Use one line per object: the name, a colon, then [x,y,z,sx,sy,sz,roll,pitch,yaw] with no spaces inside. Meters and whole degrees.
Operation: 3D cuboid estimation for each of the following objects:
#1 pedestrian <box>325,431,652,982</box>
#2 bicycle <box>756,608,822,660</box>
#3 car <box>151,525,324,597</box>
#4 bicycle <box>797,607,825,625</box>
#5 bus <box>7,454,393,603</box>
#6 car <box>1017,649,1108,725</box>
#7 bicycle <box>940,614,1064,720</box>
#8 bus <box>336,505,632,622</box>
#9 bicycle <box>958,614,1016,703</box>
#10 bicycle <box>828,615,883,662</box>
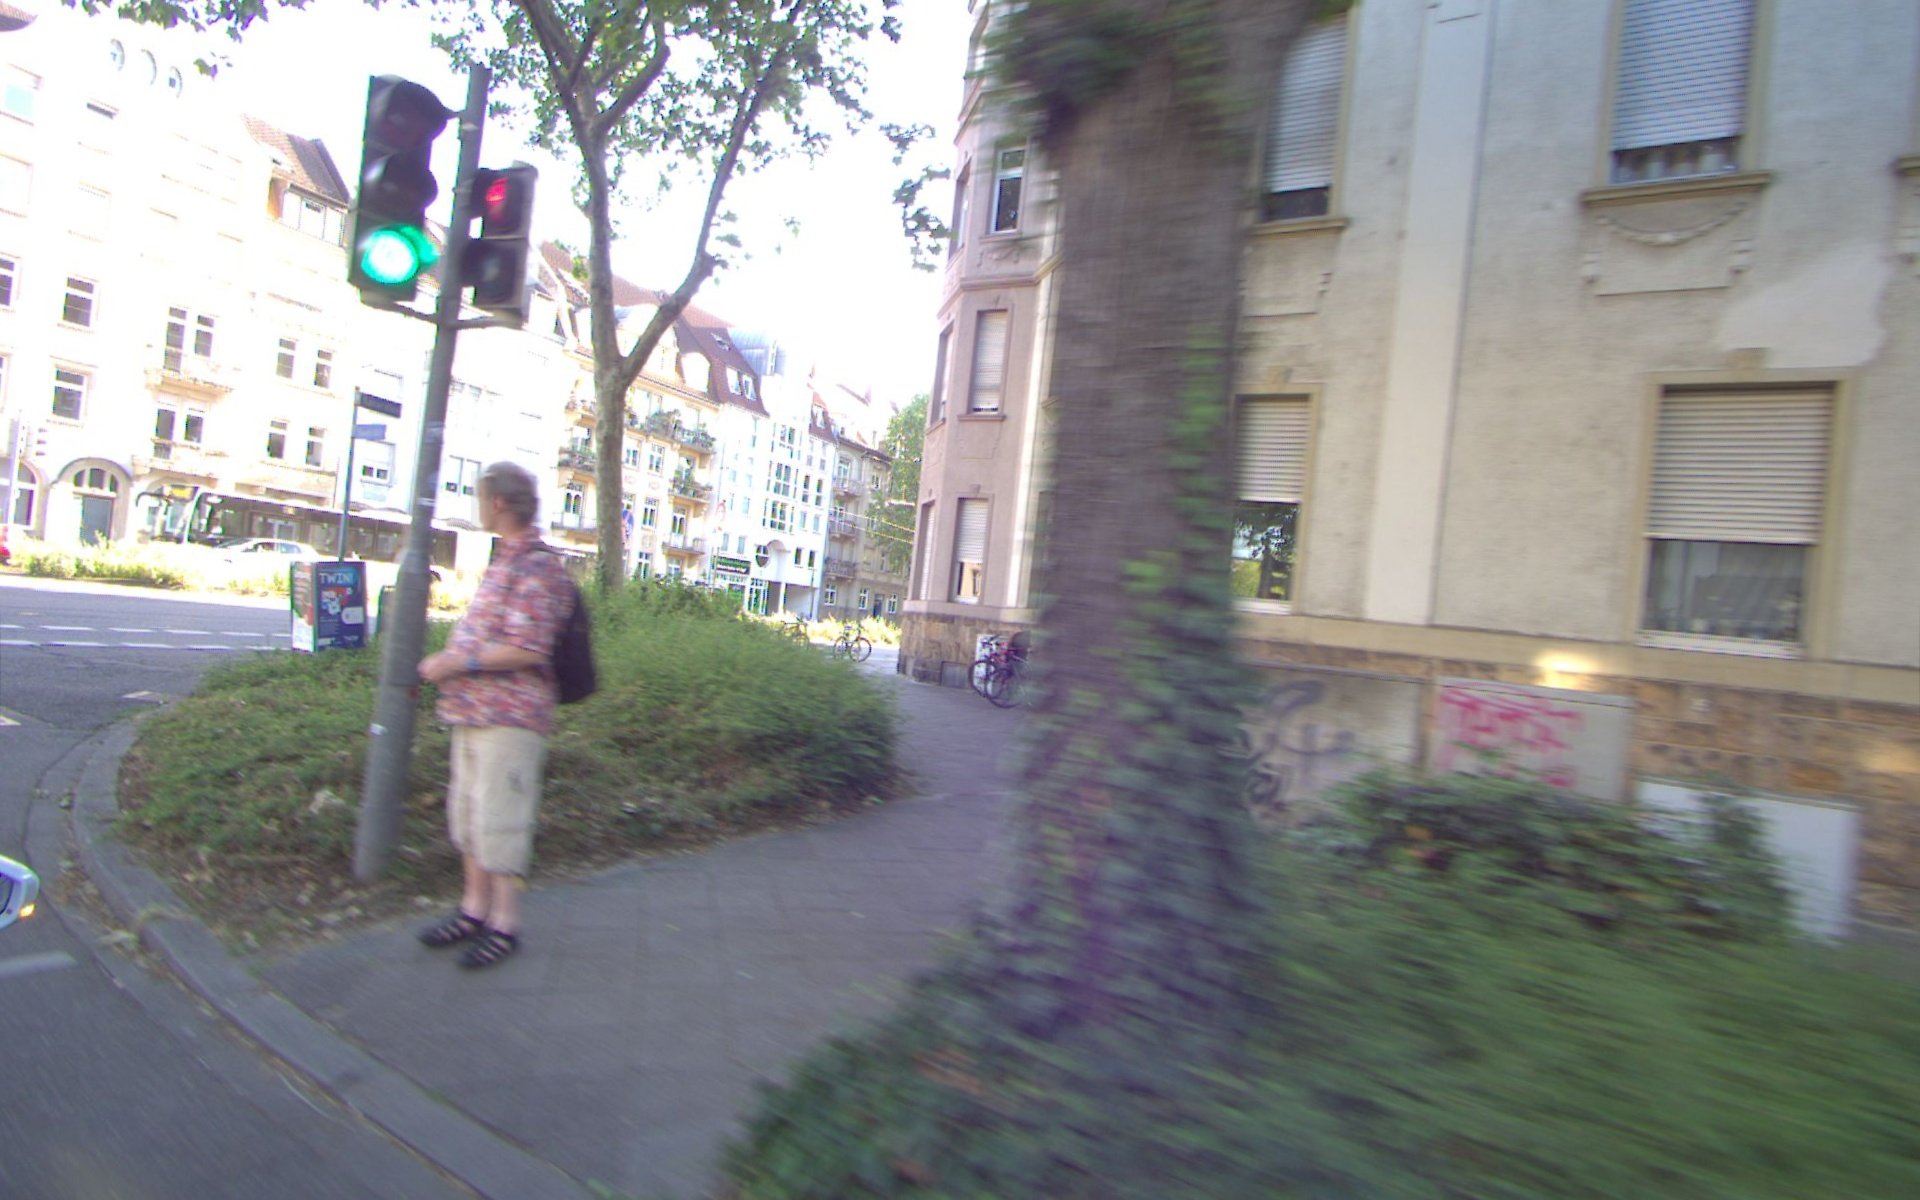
pedestrian: [-1.761,0.360,3.797,0.656,1.827,0.700,6,-1,36]
bicycle: [-3.938,0.805,23.316,0.364,1.081,1.872,6,-1,27]
car: [-23.264,-1.226,32.538,1.904,1.703,3.996,6,-3,31]
bicycle: [-10.977,1.162,74.257,0.748,1.045,1.887,13,2,41]
bus: [-25.387,-2.185,34.505,3.220,3.412,9.894,6,-3,28]
car: [1.398,1.194,13.958,0.911,0.960,1.062,3,-1,-14]
bicycle: [0.613,1.035,16.740,0.939,1.489,3.149,7,-2,-17]
bus: [-20.267,-1.347,44.210,3.209,3.412,11.971,6,-3,28]
bicycle: [0.452,0.991,17.653,0.365,1.412,1.927,6,-1,-14]
bicycle: [-2.694,1.012,26.122,0.430,1.111,1.932,6,-1,24]
